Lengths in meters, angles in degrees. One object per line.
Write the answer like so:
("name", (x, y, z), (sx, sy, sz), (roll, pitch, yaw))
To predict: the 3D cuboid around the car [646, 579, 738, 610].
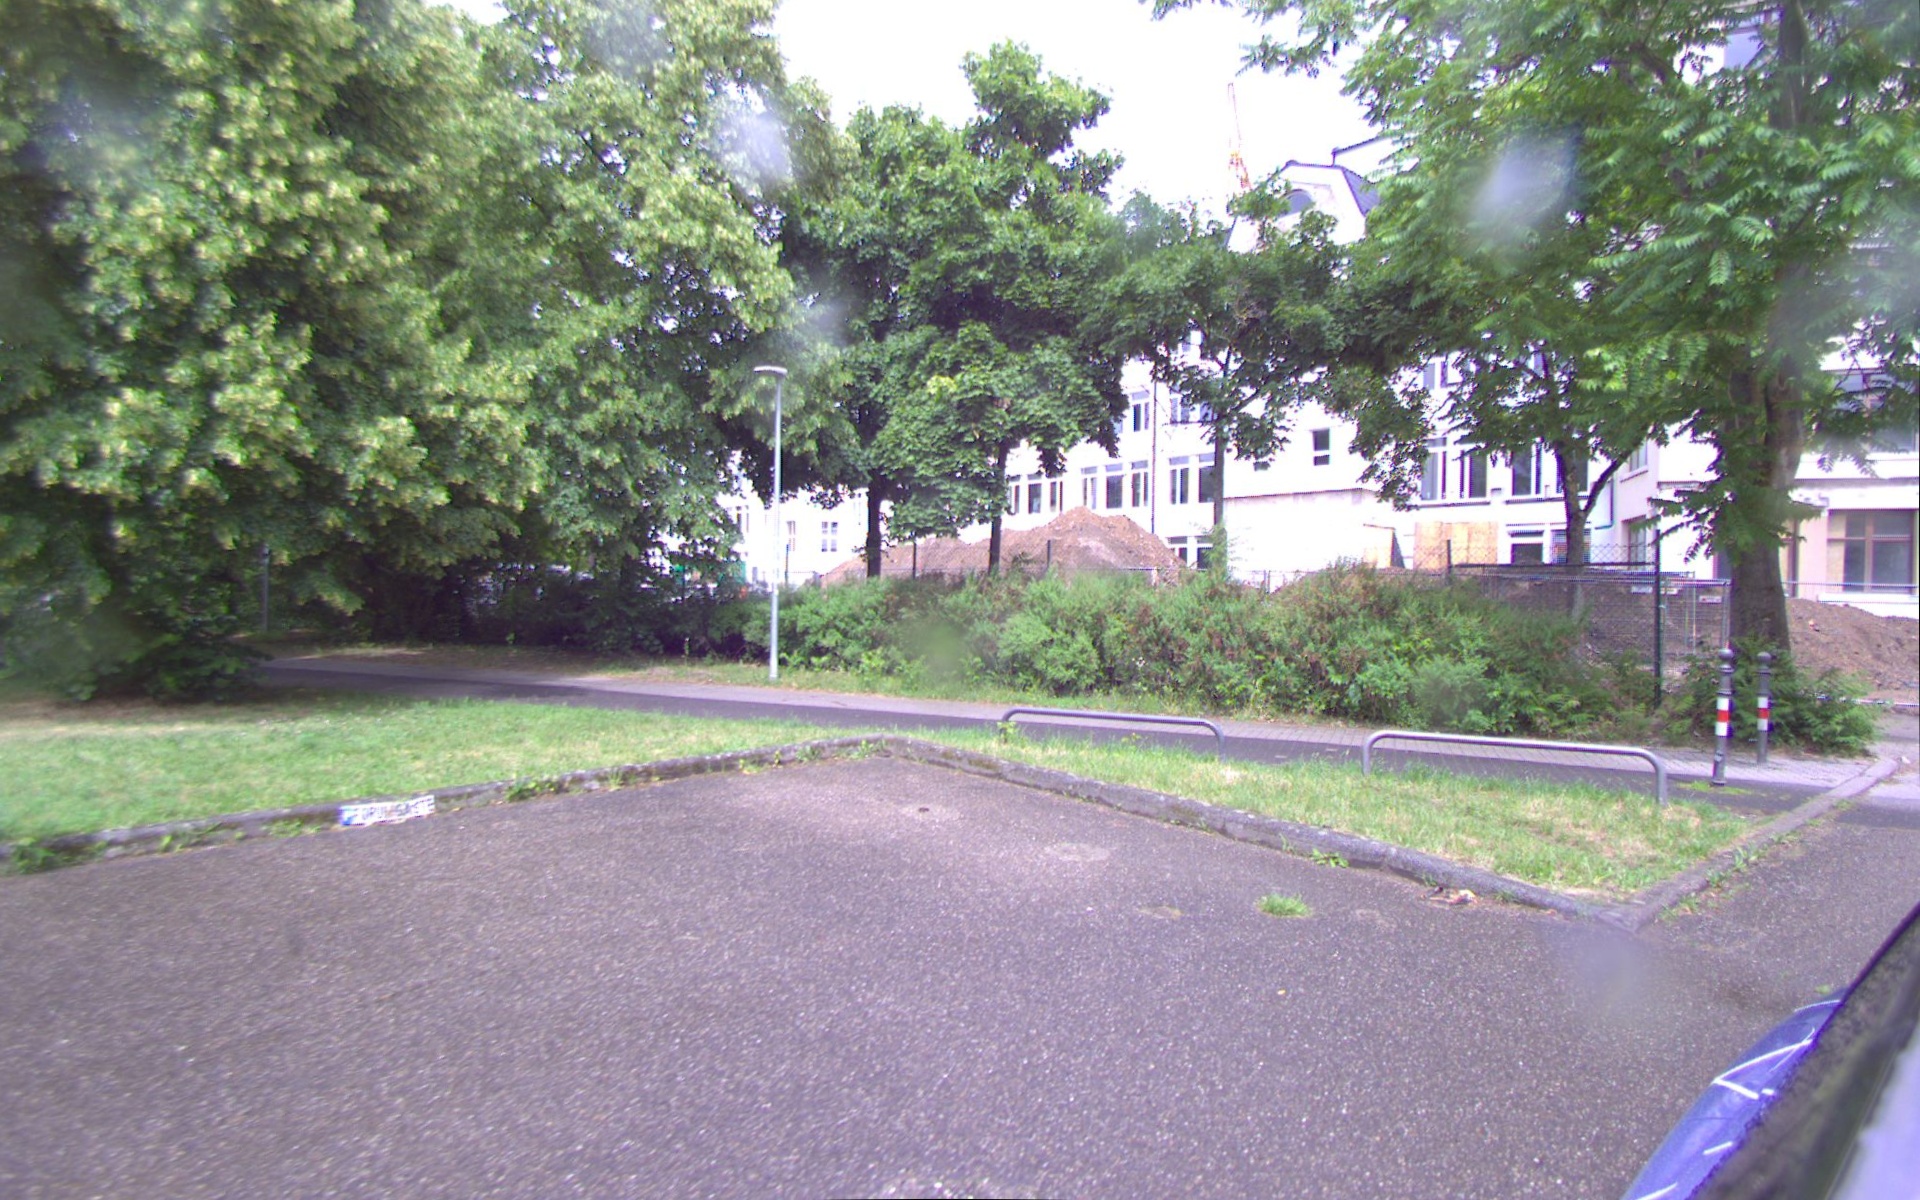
("car", (-12.175, -0.235, 46.087), (3.666, 1.394, 1.837), (0, 0, -40))
